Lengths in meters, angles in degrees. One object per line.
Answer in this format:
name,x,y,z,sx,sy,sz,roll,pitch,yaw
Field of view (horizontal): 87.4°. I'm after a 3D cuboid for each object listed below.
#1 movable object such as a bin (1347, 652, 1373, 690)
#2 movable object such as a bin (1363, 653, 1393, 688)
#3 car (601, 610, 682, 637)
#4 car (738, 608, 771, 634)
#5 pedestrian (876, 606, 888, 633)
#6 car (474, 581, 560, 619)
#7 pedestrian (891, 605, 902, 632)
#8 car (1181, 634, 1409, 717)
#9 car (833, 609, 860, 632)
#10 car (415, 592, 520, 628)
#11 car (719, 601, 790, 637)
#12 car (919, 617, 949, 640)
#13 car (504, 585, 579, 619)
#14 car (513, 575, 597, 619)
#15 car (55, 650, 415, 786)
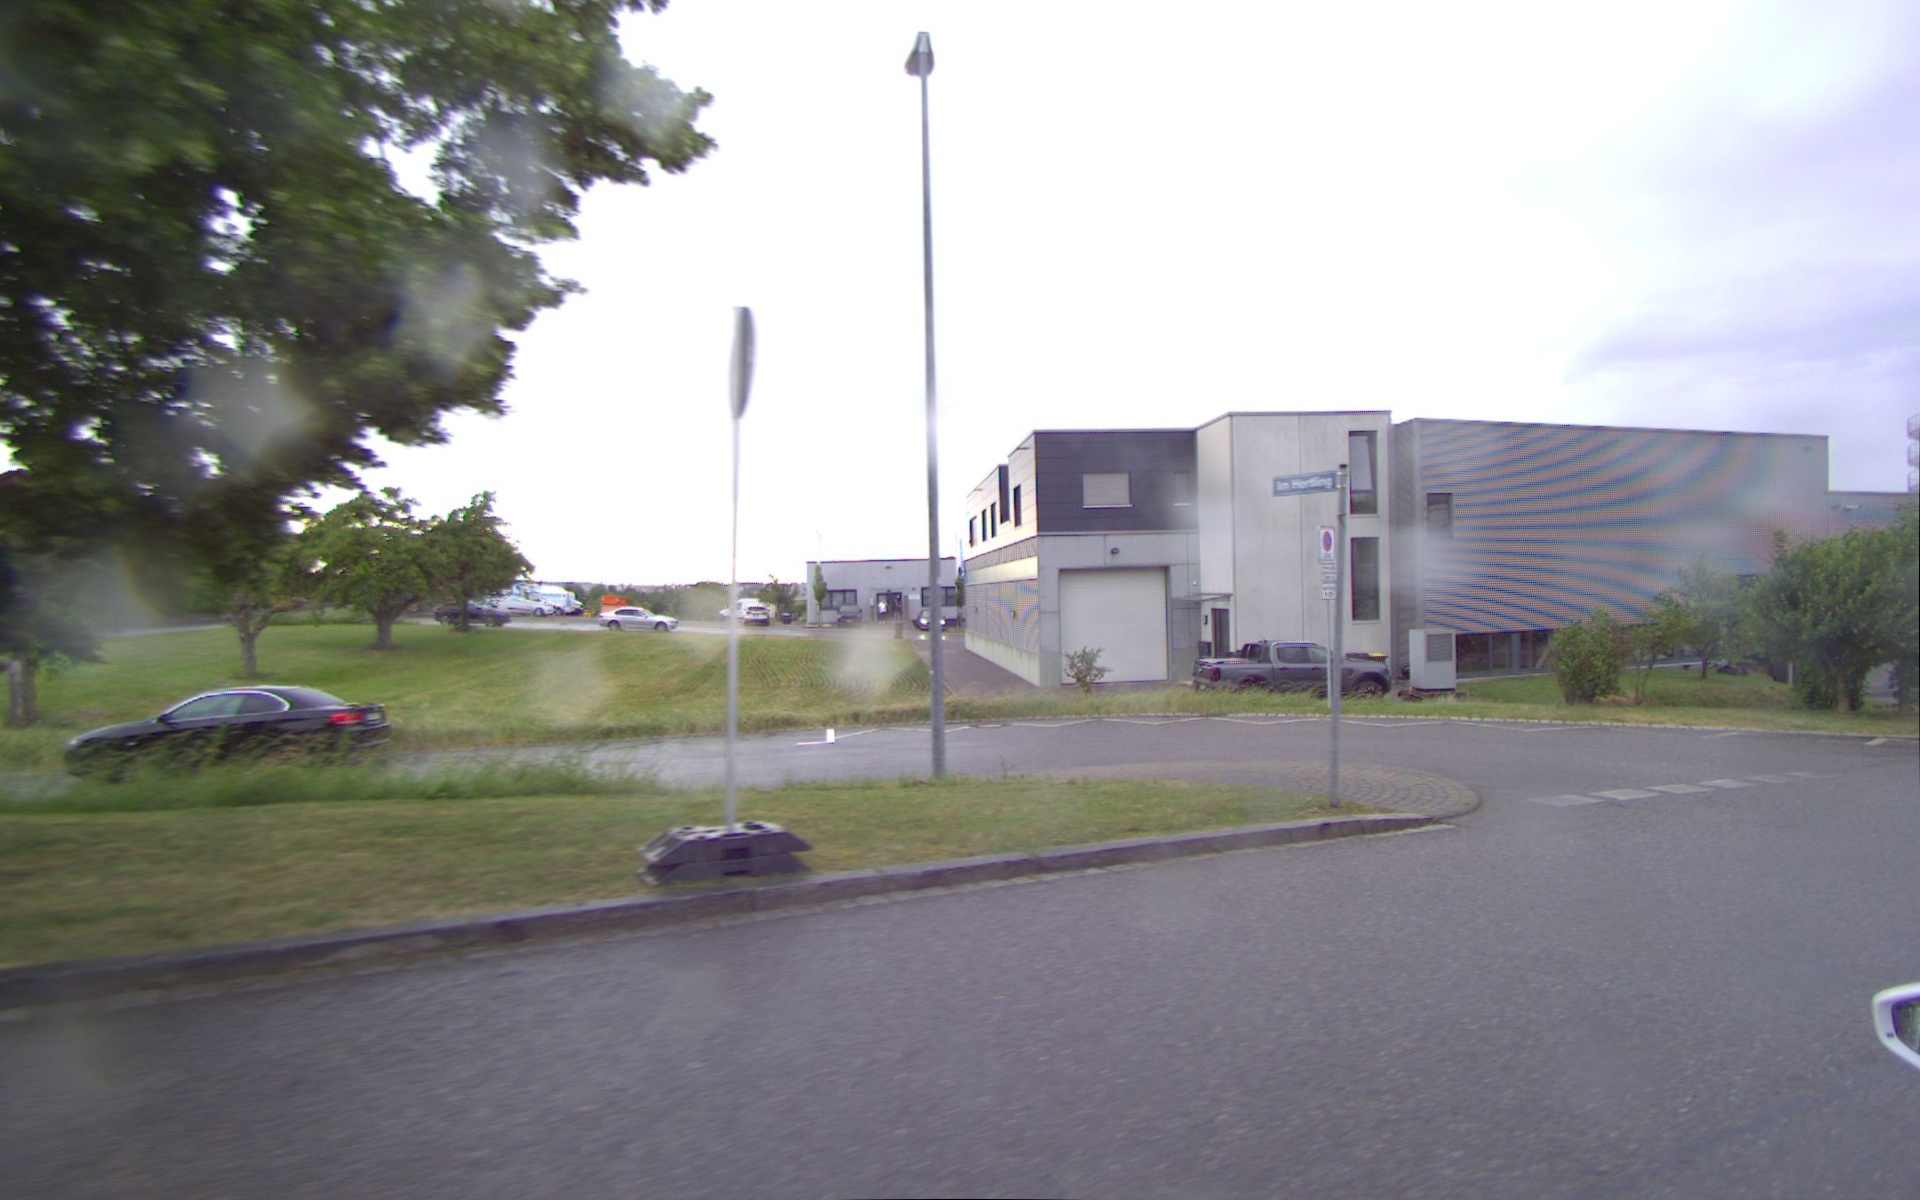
movable object such as a bin,12.816,2.276,32.183,0.557,1.181,0.557,0,-2,-5
movable object such as a bin,13.425,2.259,32.293,0.661,1.111,0.636,0,-2,-5
car,-20.314,1.537,64.328,4.532,1.670,2.290,0,-3,-6
car,-15.152,1.520,74.252,2.239,1.880,4.711,0,0,-9
pedestrian,-5.967,1.478,76.781,0.835,2.040,0.646,1,-1,-2
car,-33.969,-0.007,77.163,5.711,2.737,1.995,2,0,-13
pedestrian,-4.851,1.446,76.694,0.847,2.031,0.659,1,-1,-3
car,9.058,1.998,27.369,5.505,1.947,2.133,-1,0,-7
car,-8.457,1.532,75.135,1.777,1.639,3.998,1,-1,-5
car,-30.851,0.674,63.055,5.320,2.000,2.290,2,-3,-6
car,-20.341,1.920,99.522,6.603,3.469,2.543,0,-3,-6
car,-1.988,2.114,75.350,1.962,1.639,3.998,1,-1,-5
car,-34.514,0.197,82.979,5.335,2.603,1.996,2,-2,-11
car,-34.471,-0.233,85.674,6.182,3.474,1.999,2,-2,-6
car,-11.717,1.849,16.591,4.307,1.776,1.996,-3,-1,-12
